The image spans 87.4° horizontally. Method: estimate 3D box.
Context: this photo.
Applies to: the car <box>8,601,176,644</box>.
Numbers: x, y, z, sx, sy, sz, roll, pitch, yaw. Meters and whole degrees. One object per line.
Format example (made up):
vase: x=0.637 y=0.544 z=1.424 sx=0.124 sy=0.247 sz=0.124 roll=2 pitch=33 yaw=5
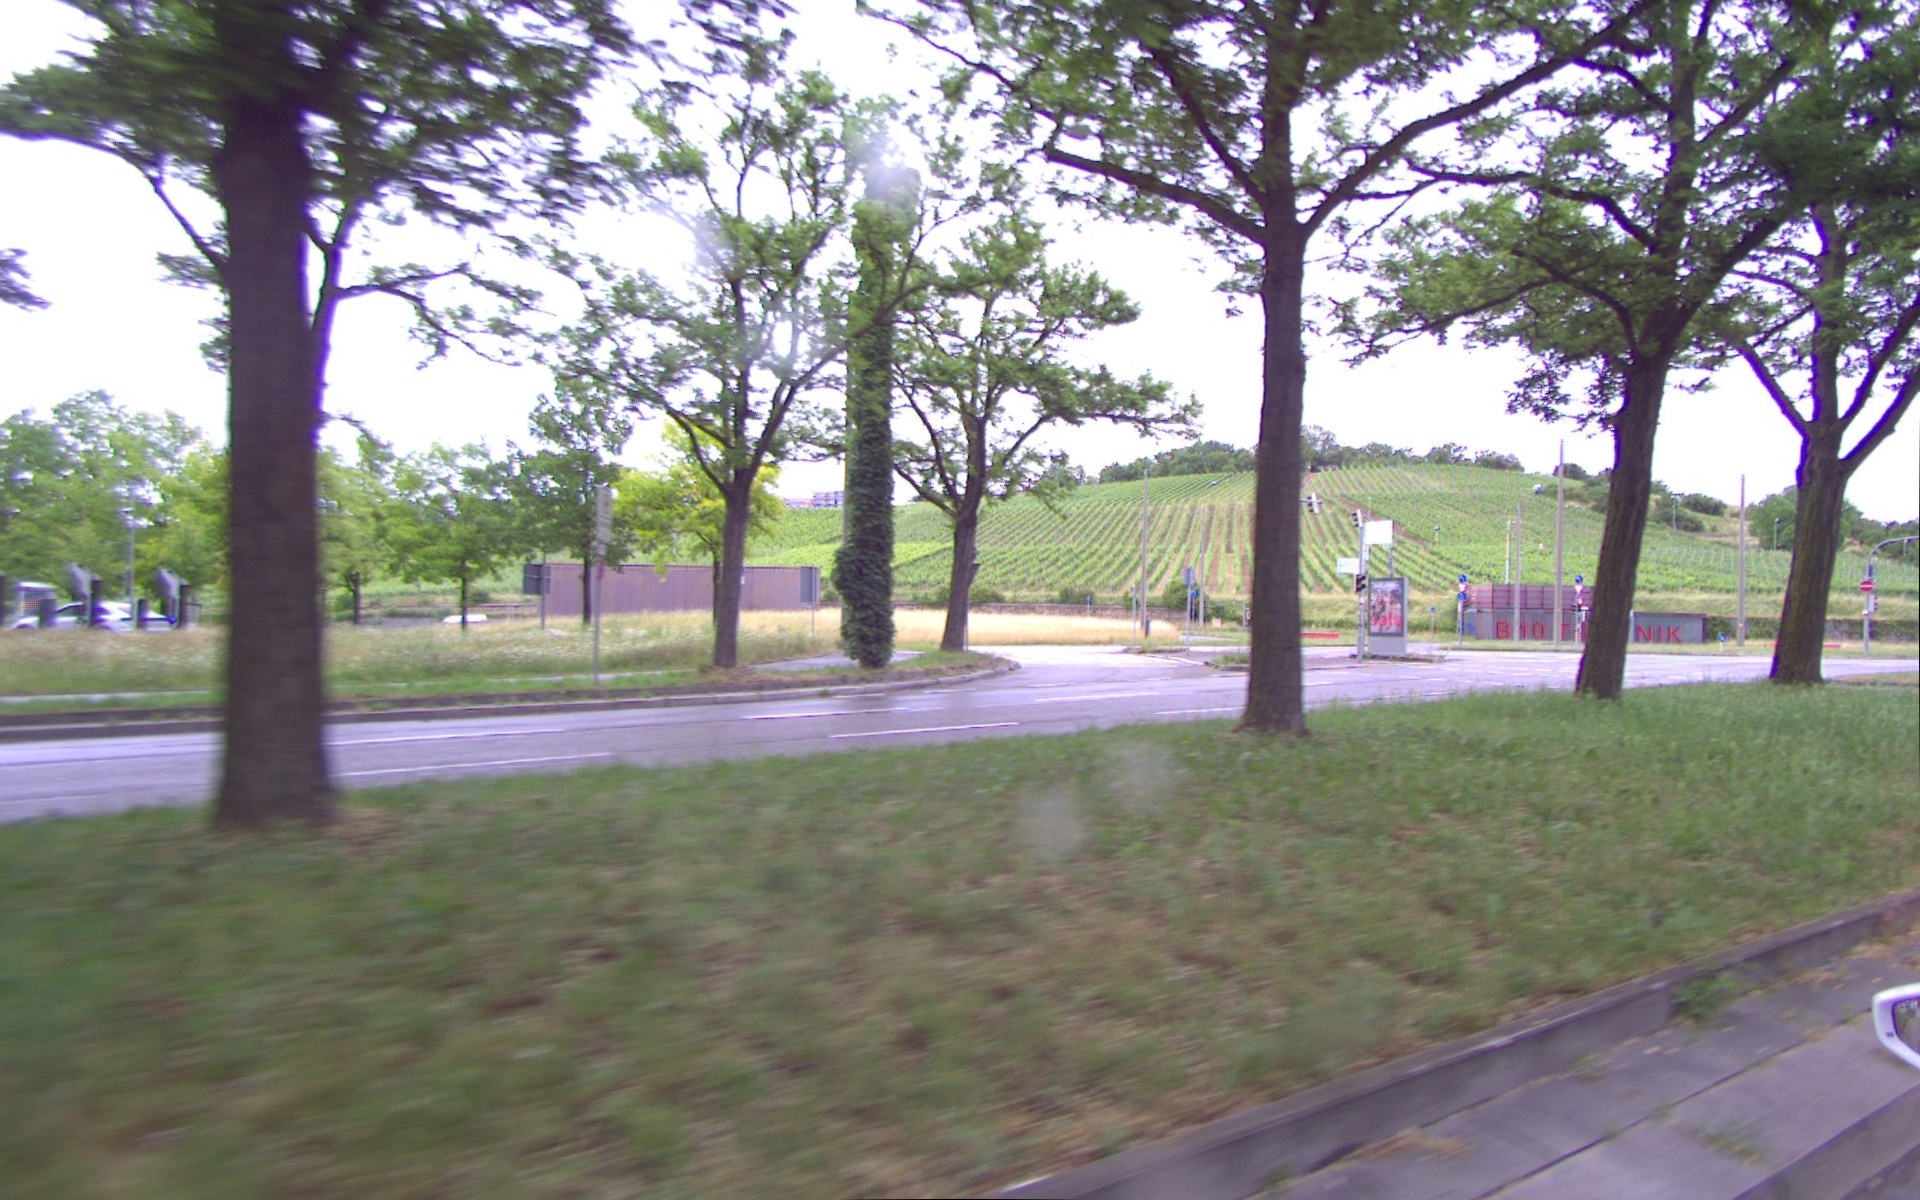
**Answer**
car: x=-28.856 y=0.742 z=33.512 sx=3.928 sy=1.261 sz=1.617 roll=2 pitch=1 yaw=-10
